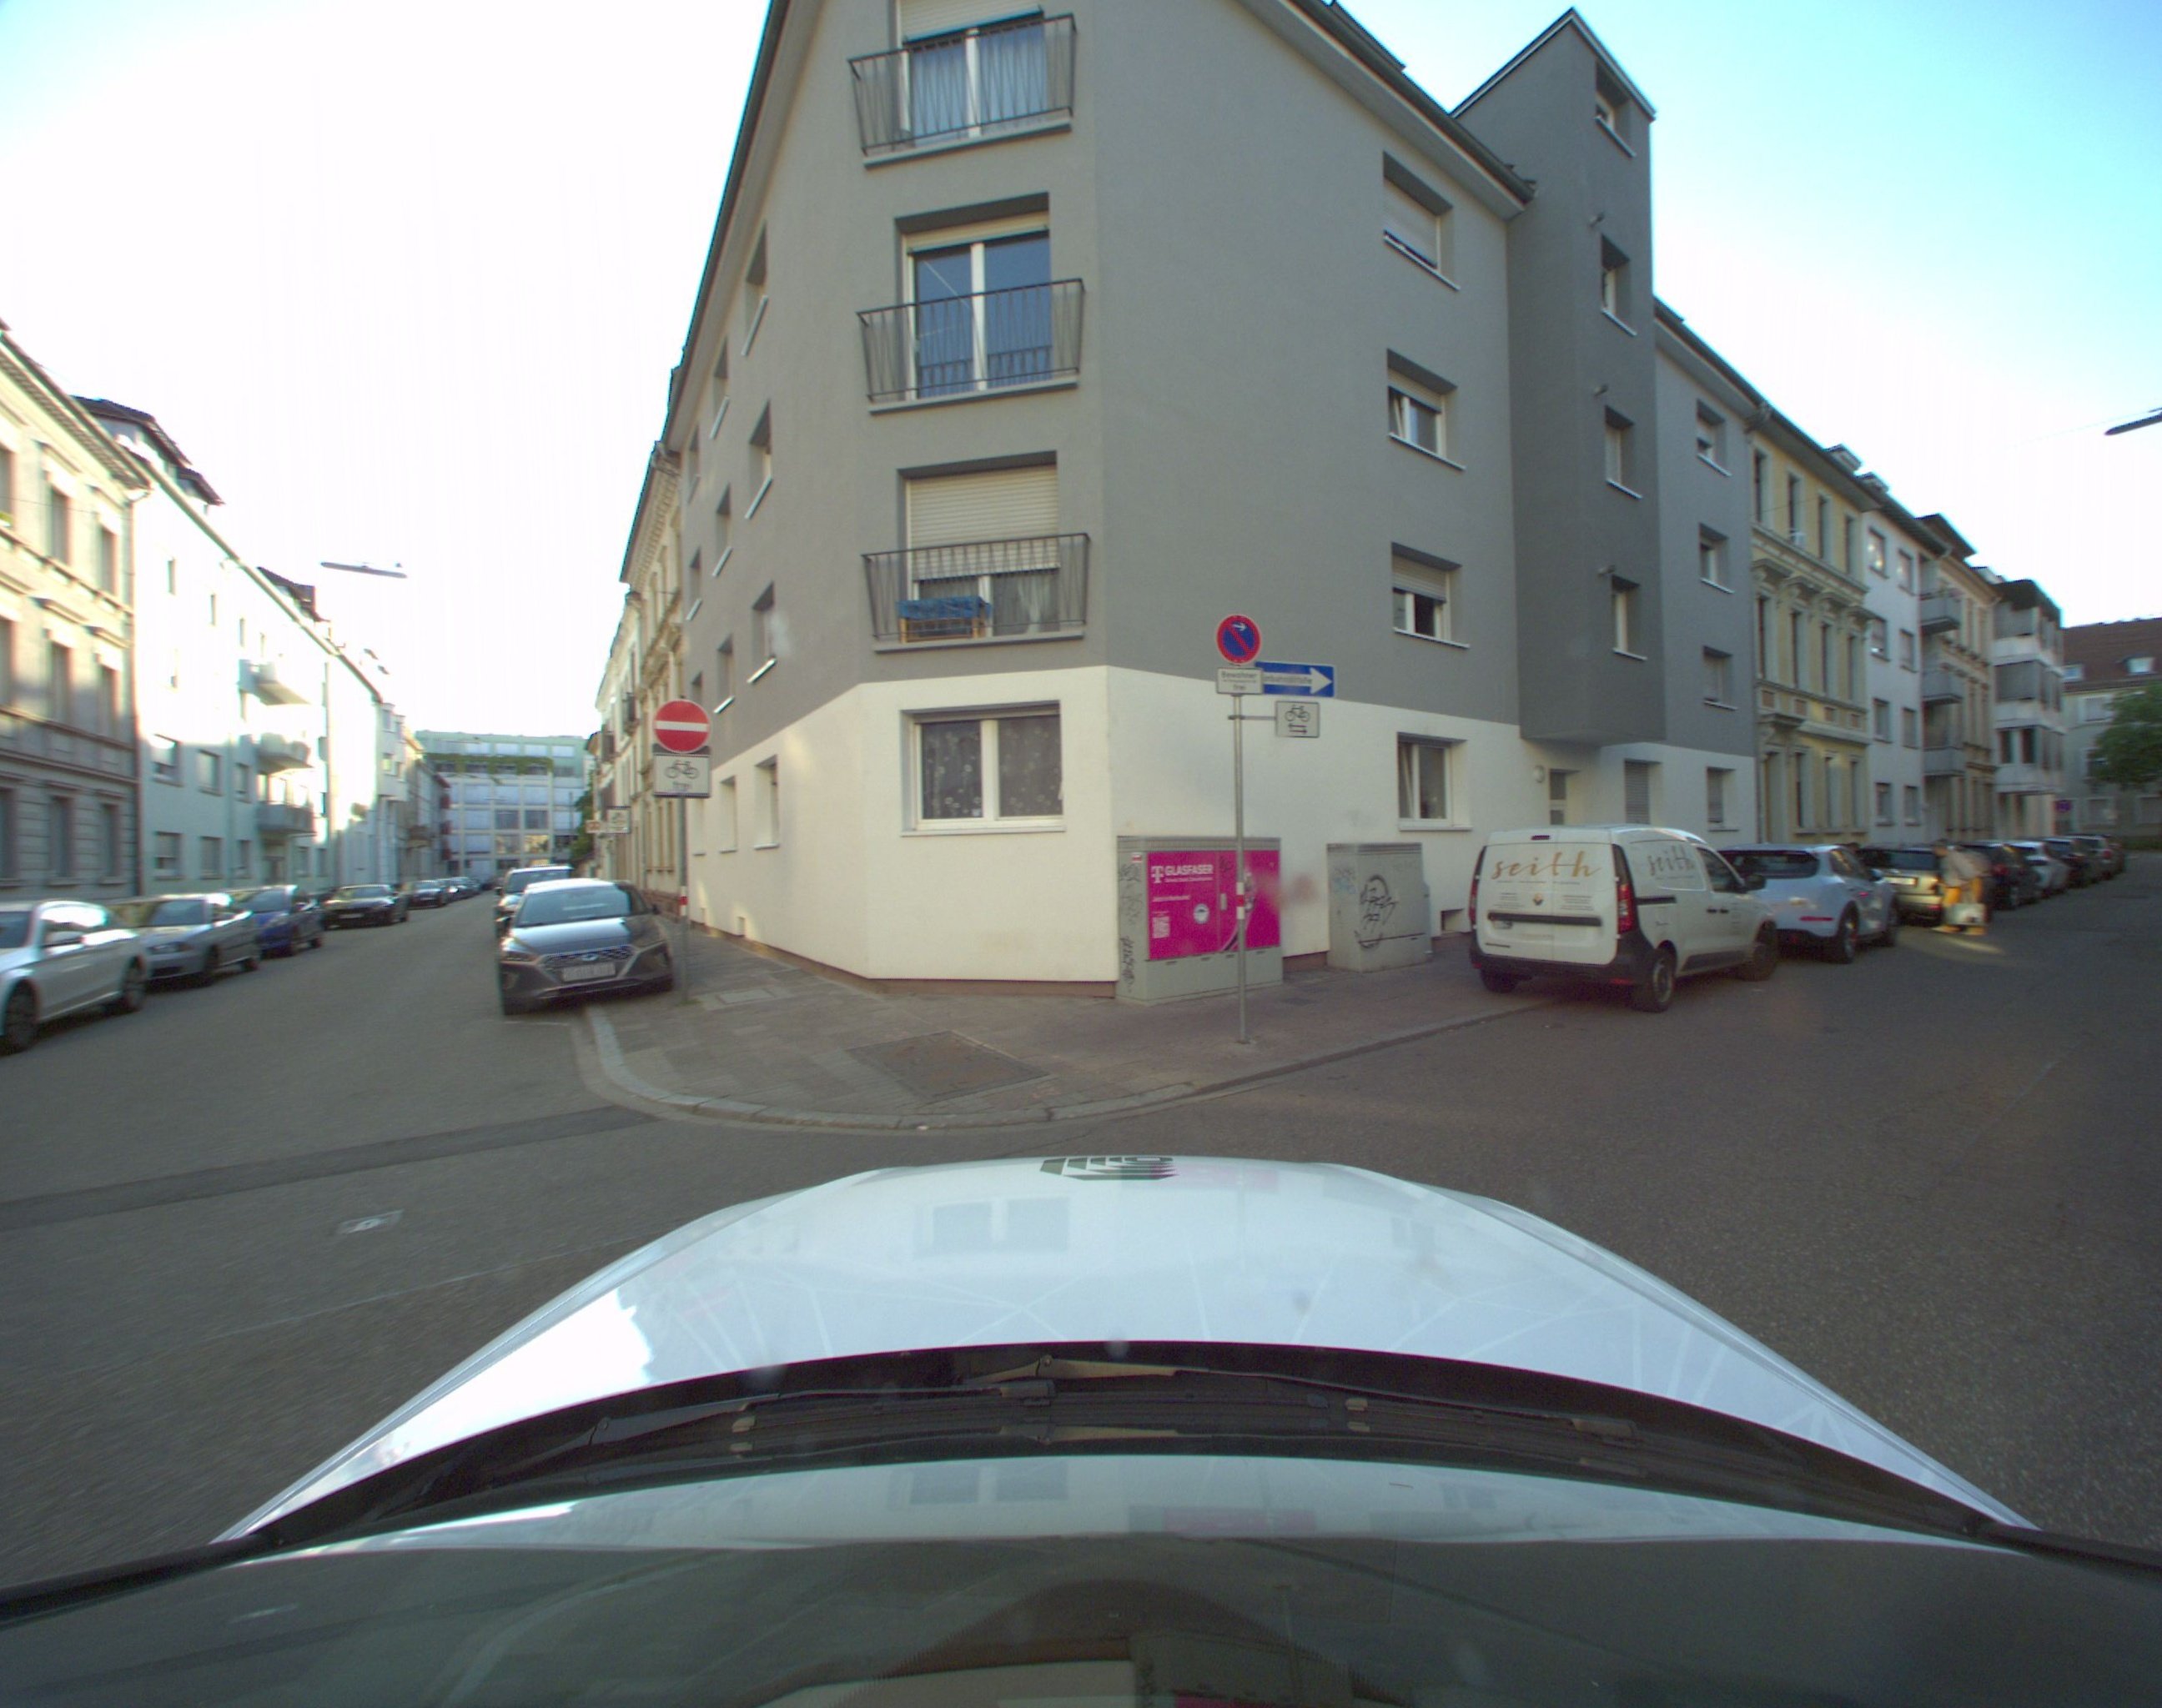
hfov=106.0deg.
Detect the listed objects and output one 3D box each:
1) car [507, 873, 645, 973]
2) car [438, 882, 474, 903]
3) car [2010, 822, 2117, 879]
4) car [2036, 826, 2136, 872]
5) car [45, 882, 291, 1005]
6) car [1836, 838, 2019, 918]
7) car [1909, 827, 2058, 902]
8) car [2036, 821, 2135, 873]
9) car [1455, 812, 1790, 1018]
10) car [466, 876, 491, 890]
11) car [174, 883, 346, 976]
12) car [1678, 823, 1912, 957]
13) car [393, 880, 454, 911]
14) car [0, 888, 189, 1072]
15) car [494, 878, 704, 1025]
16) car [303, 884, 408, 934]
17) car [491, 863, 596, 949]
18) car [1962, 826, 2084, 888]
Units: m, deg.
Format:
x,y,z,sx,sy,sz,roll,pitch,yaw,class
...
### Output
x,y,z,sx,sy,sz,roll,pitch,yaw,class
-9.736,1.199,15.639,1.978,1.557,3.847,-2,0,-34,car
-43.072,2.645,56.167,1.720,1.302,3.957,-2,0,-35,car
30.114,-0.129,24.932,4.320,1.570,1.603,-2,0,-33,car
40.061,-0.174,32.442,3.991,1.663,1.979,0,-3,-32,car
-14.526,1.303,13.225,1.636,1.576,3.716,-2,0,-32,car
16.067,0.397,15.407,4.147,1.332,1.671,-1,-1,-34,car
20.853,0.202,18.790,3.845,1.509,1.715,-2,0,-33,car
35.117,-0.256,28.440,4.429,1.666,1.978,-2,0,-37,car
6.144,0.494,9.081,4.202,1.813,1.619,-2,0,-34,car
-63.550,3.076,85.891,2.009,1.309,3.840,-2,0,-35,car
-17.798,1.544,17.865,1.798,1.658,3.777,-2,0,-32,car
10.591,0.410,11.976,4.387,1.564,1.749,-3,0,-38,car
-33.840,2.097,41.996,2.190,1.418,3.956,-2,0,-36,car
-11.634,1.239,8.617,2.009,1.564,4.457,-2,0,-35,car
-6.382,1.082,10.659,1.953,1.372,3.748,-4,1,-35,car
-24.045,1.764,27.169,2.008,1.355,4.382,-2,0,-34,car
-13.105,1.172,19.840,1.908,1.784,3.957,-2,0,-34,car
25.030,0.056,21.618,3.769,1.472,1.618,-2,0,-33,car
